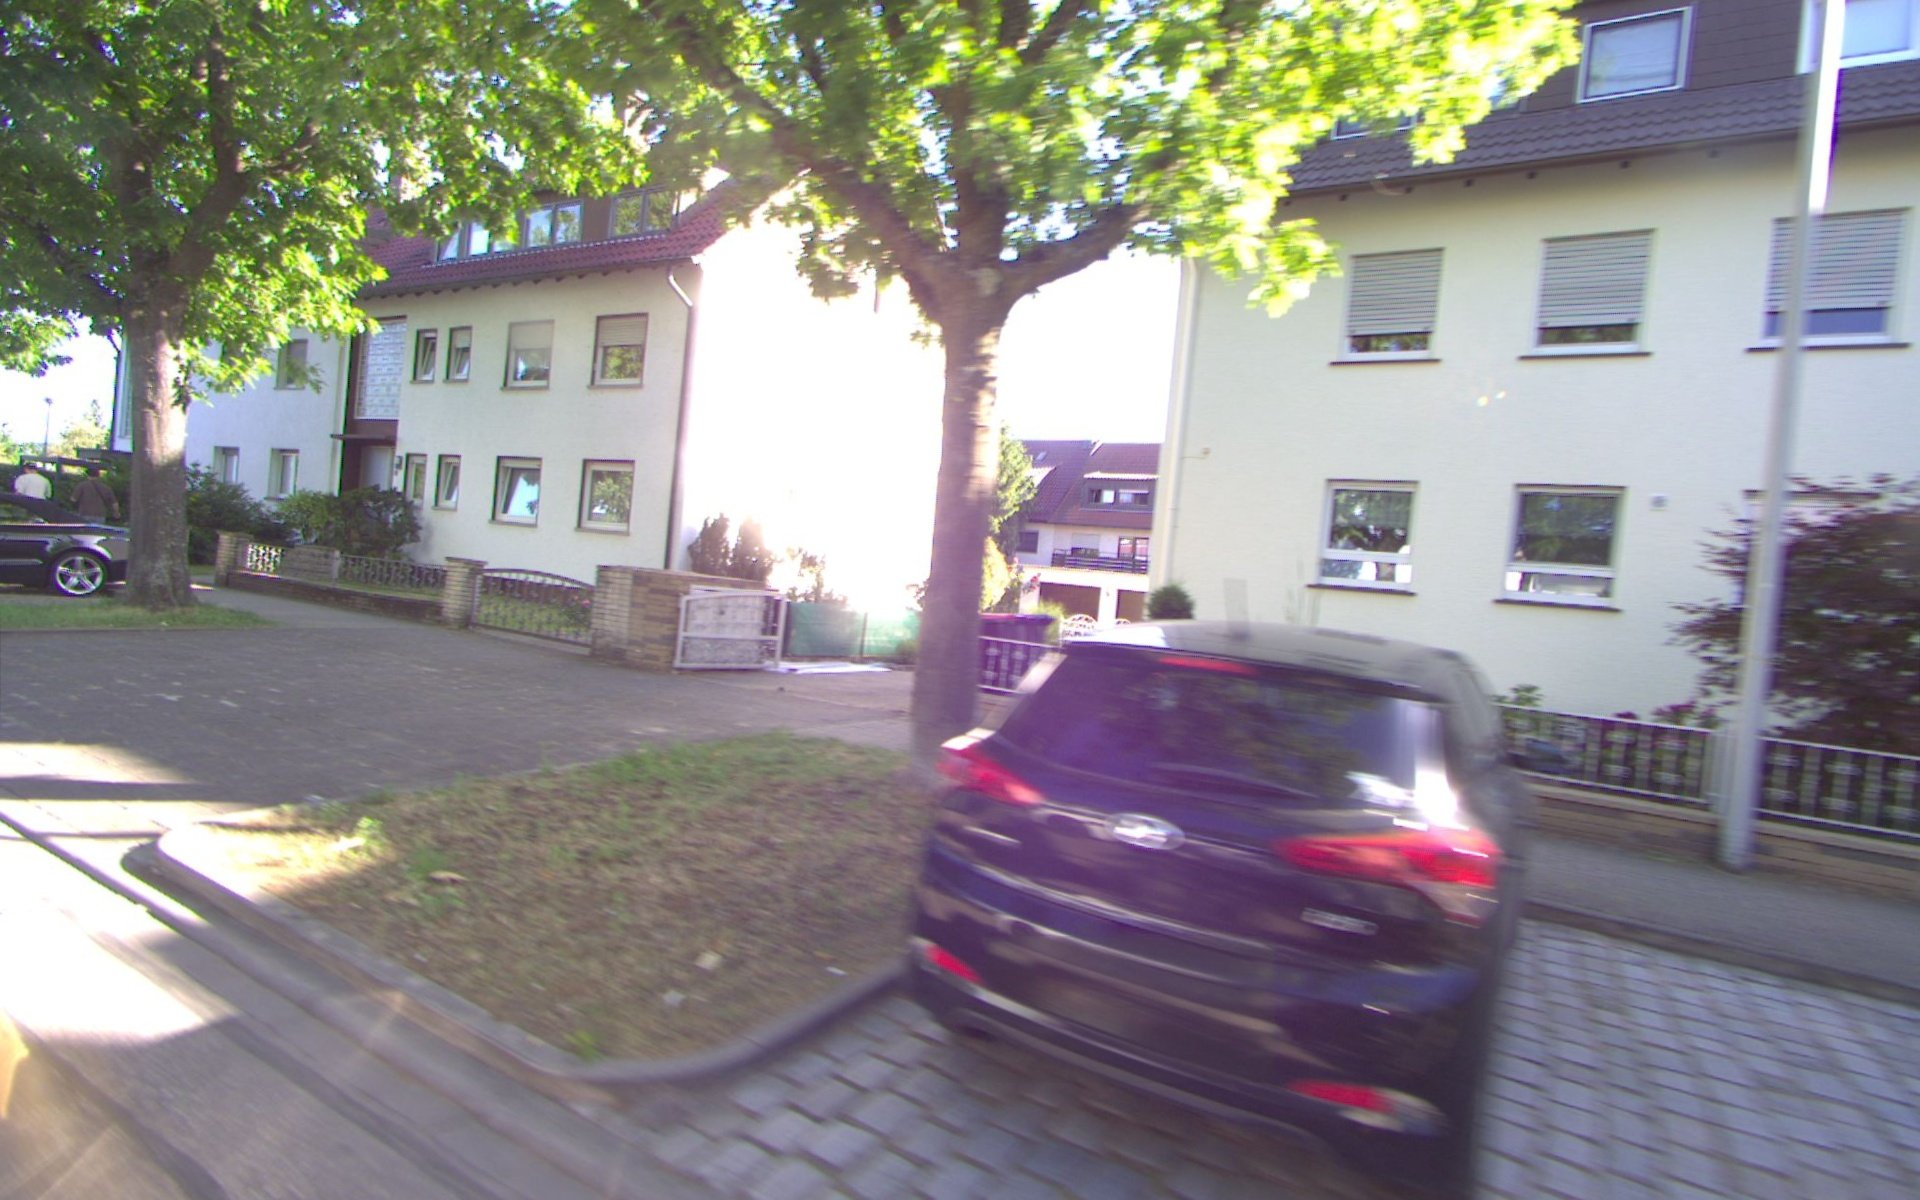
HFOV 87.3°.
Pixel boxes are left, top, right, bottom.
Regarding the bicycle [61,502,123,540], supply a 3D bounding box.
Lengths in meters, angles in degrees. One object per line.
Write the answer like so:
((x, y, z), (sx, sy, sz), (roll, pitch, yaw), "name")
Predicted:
((-28.140, -2.540, 32.638), (0.522, 1.068, 1.672), (6, 1, -1), "bicycle")

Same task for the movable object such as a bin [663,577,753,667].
((-3.463, 0.305, 13.838), (0.891, 1.125, 0.703), (6, 1, 31), "movable object such as a bin")

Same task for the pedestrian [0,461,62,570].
((-16.936, -1.533, 18.295), (0.909, 1.897, 0.608), (6, 1, 33), "pedestrian")

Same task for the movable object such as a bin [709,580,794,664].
((-3.019, 0.321, 14.598), (0.891, 1.113, 0.703), (6, 1, 31), "movable object such as a bin")

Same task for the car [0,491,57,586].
((-16.435, -1.110, 14.846), (1.767, 1.432, 4.279), (7, 1, 31), "car")

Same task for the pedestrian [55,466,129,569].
((-16.595, -1.573, 19.239), (0.699, 1.851, 0.835), (6, 1, 33), "pedestrian")

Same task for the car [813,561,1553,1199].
((1.347, 0.816, 4.108), (1.634, 1.535, 3.884), (6, 0, 32), "car")

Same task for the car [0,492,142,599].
((-14.056, -0.872, 13.517), (1.842, 1.380, 4.348), (6, 1, 31), "car")
